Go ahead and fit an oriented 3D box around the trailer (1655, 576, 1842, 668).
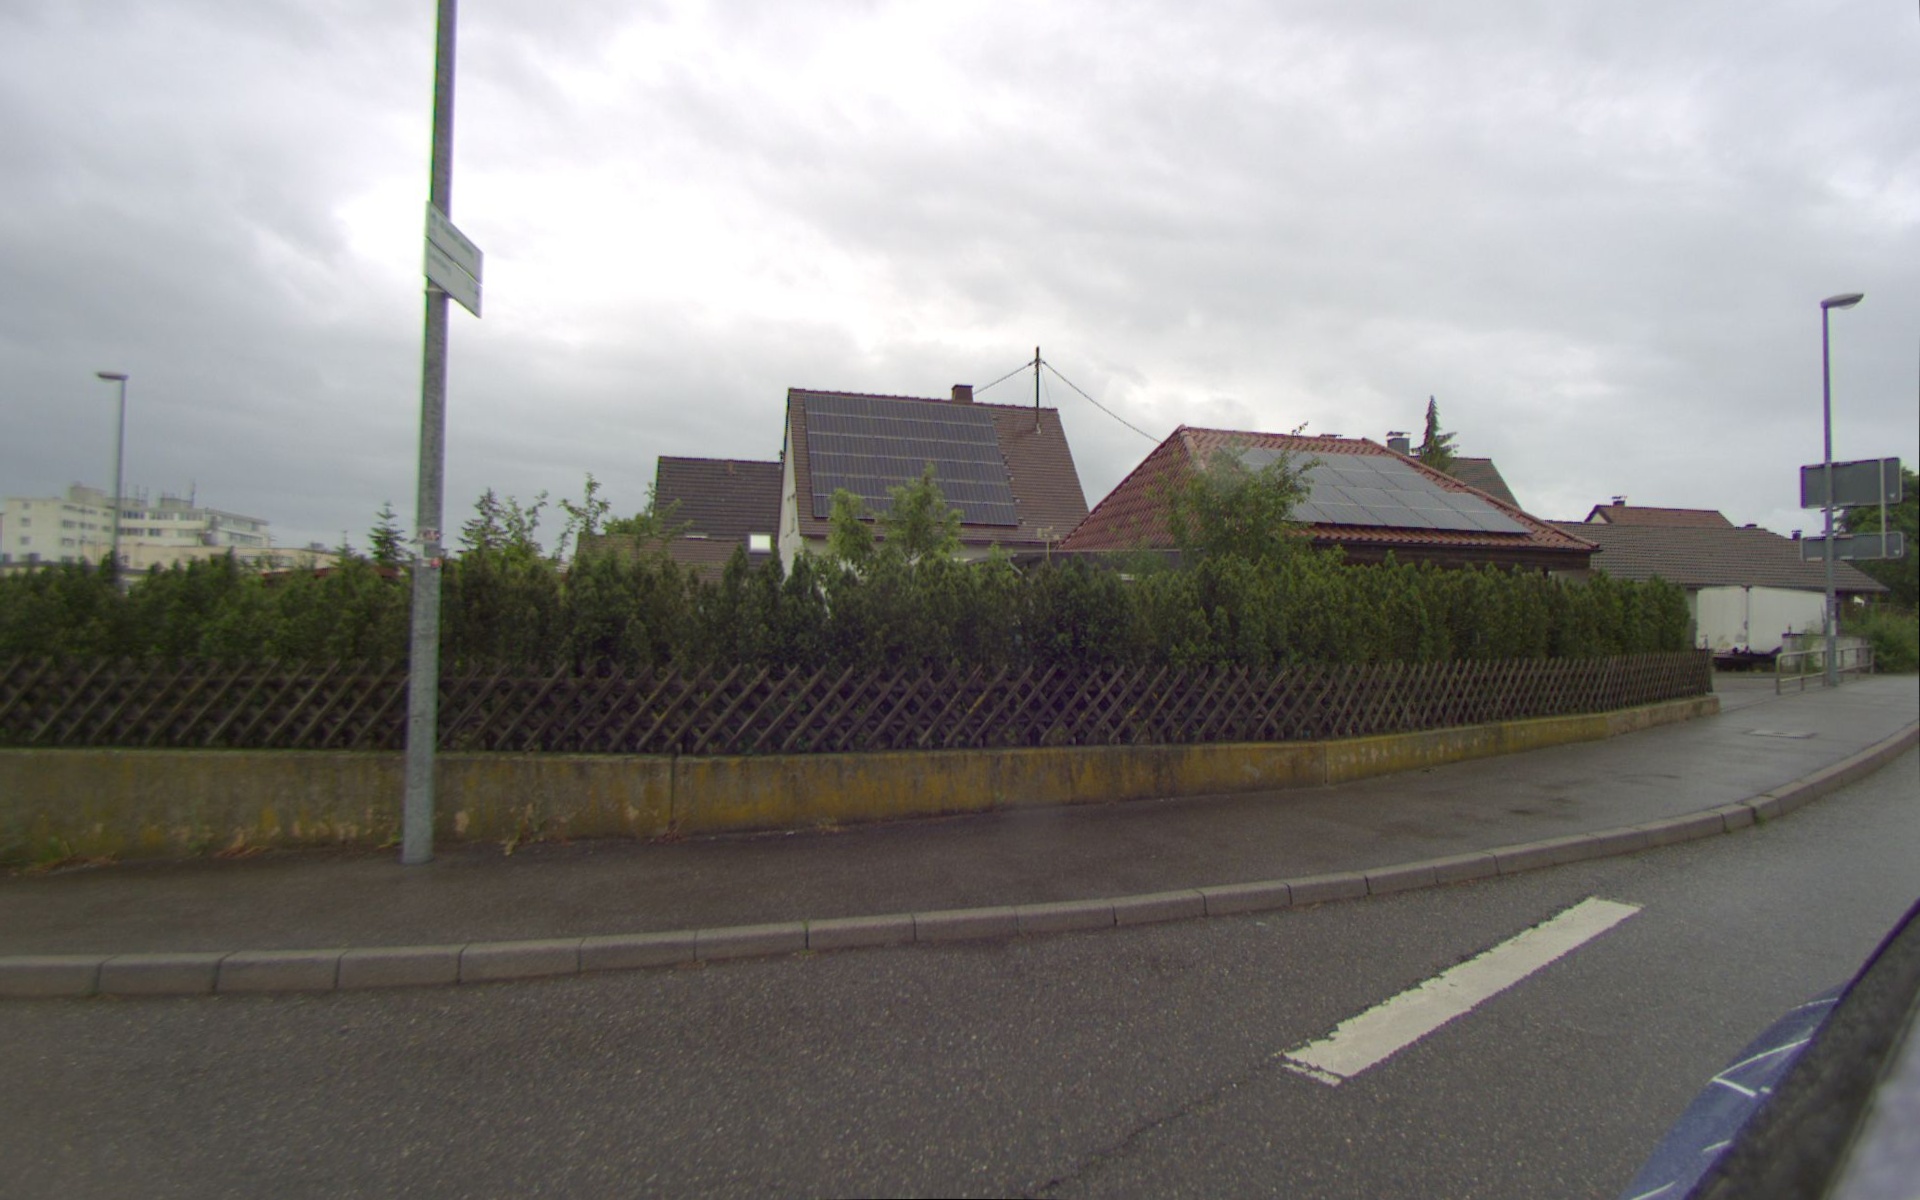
[{"bbox_3d":[22.807,0.650,29.309,4.605,2.550,1.652,0,-2,-12],"label":"trailer"}]
